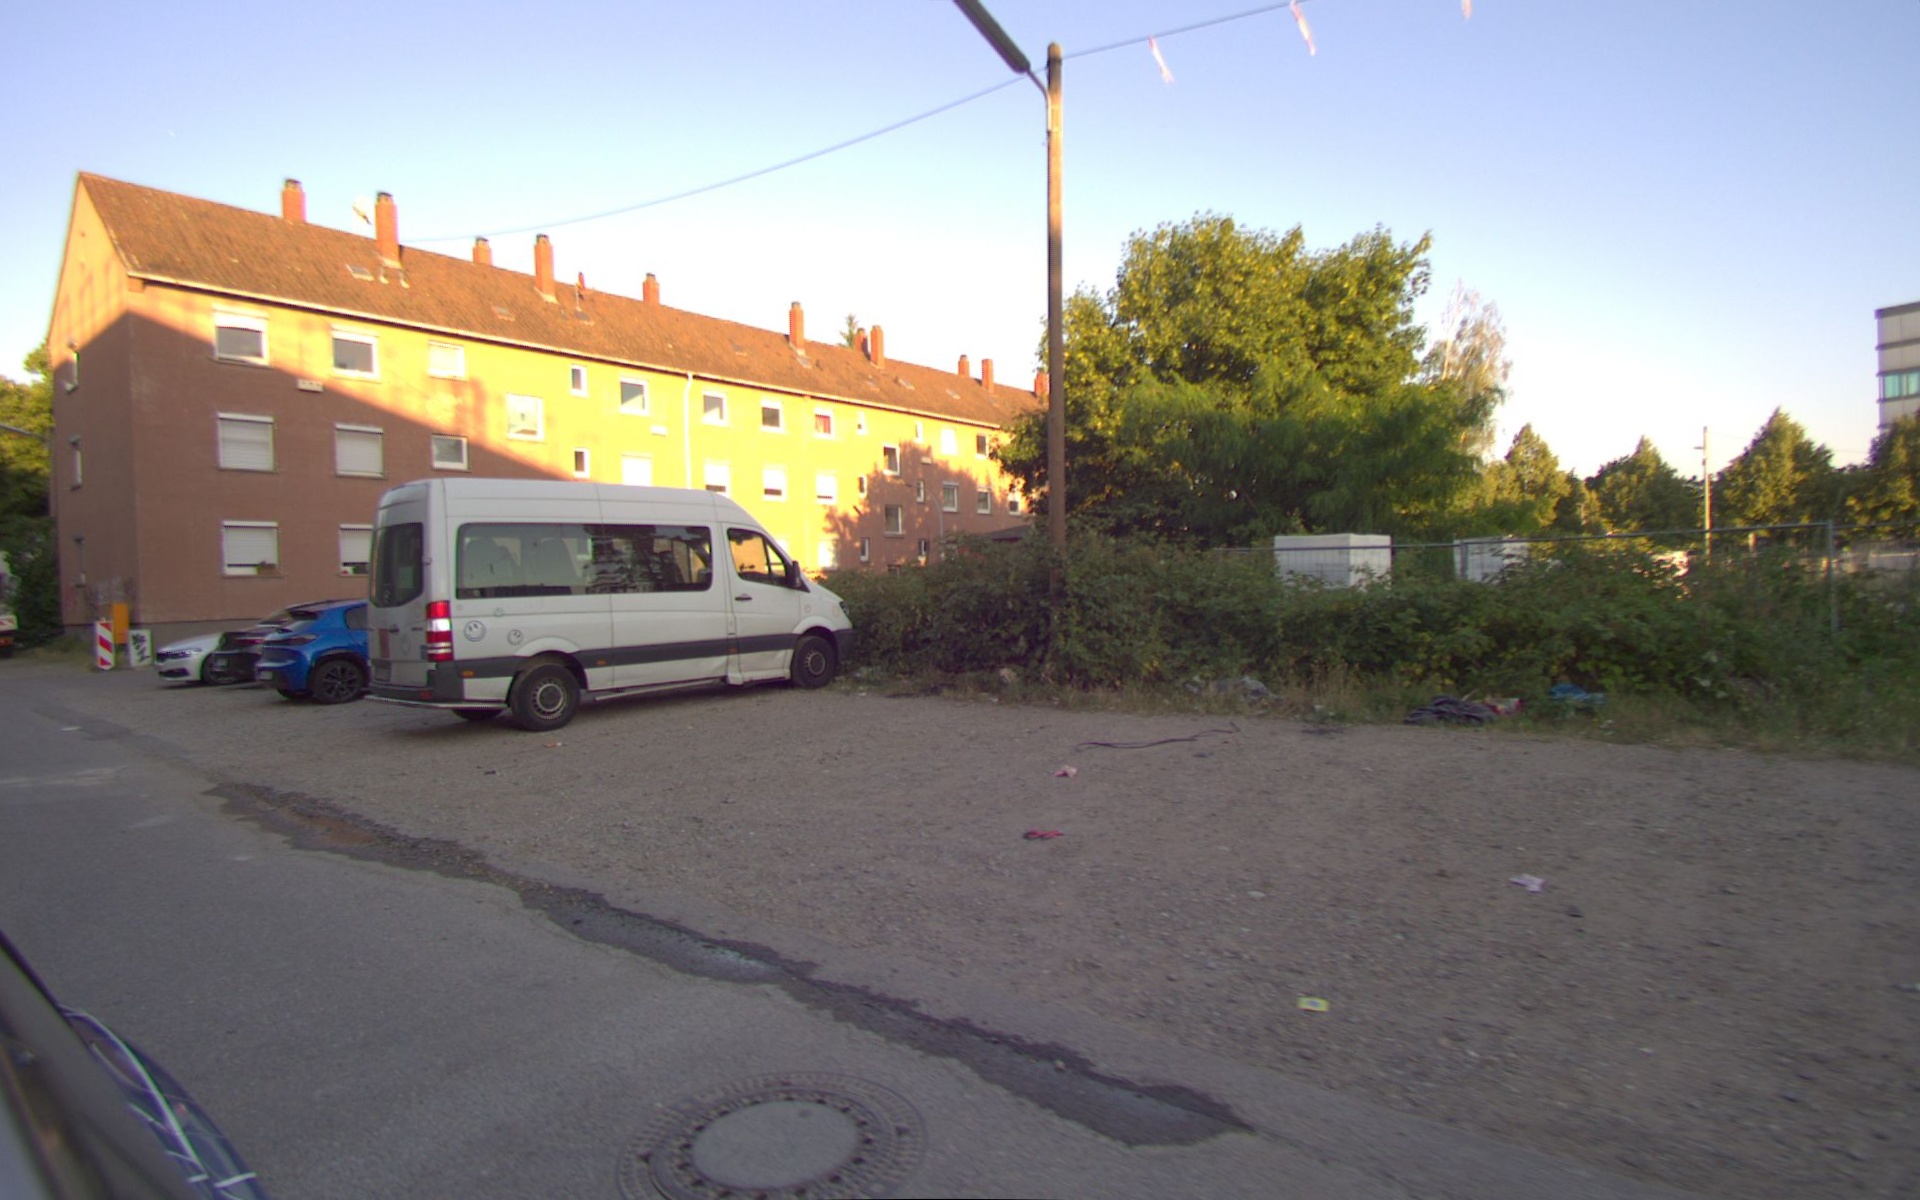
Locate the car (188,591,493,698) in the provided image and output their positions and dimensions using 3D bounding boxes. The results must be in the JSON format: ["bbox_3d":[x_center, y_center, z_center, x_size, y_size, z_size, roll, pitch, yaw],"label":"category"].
[{"bbox_3d":[-11.083,0.702,18.413,1.724,1.556,4.377,-1,2,36],"label":"car"}]

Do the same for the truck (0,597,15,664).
[{"bbox_3d":[-30.460,0.949,30.601,5.656,1.927,2.014,-1,2,40],"label":"truck"}]

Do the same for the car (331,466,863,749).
[{"bbox_3d":[-4.051,-0.036,12.280,2.222,2.645,5.628,-1,2,42],"label":"car"}]

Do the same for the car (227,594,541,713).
[{"bbox_3d":[-8.723,0.721,15.597,1.725,1.440,3.801,-1,2,37],"label":"car"}]

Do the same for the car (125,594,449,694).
[{"bbox_3d":[-13.256,0.773,20.258,2.112,1.556,4.950,-1,2,36],"label":"car"}]
